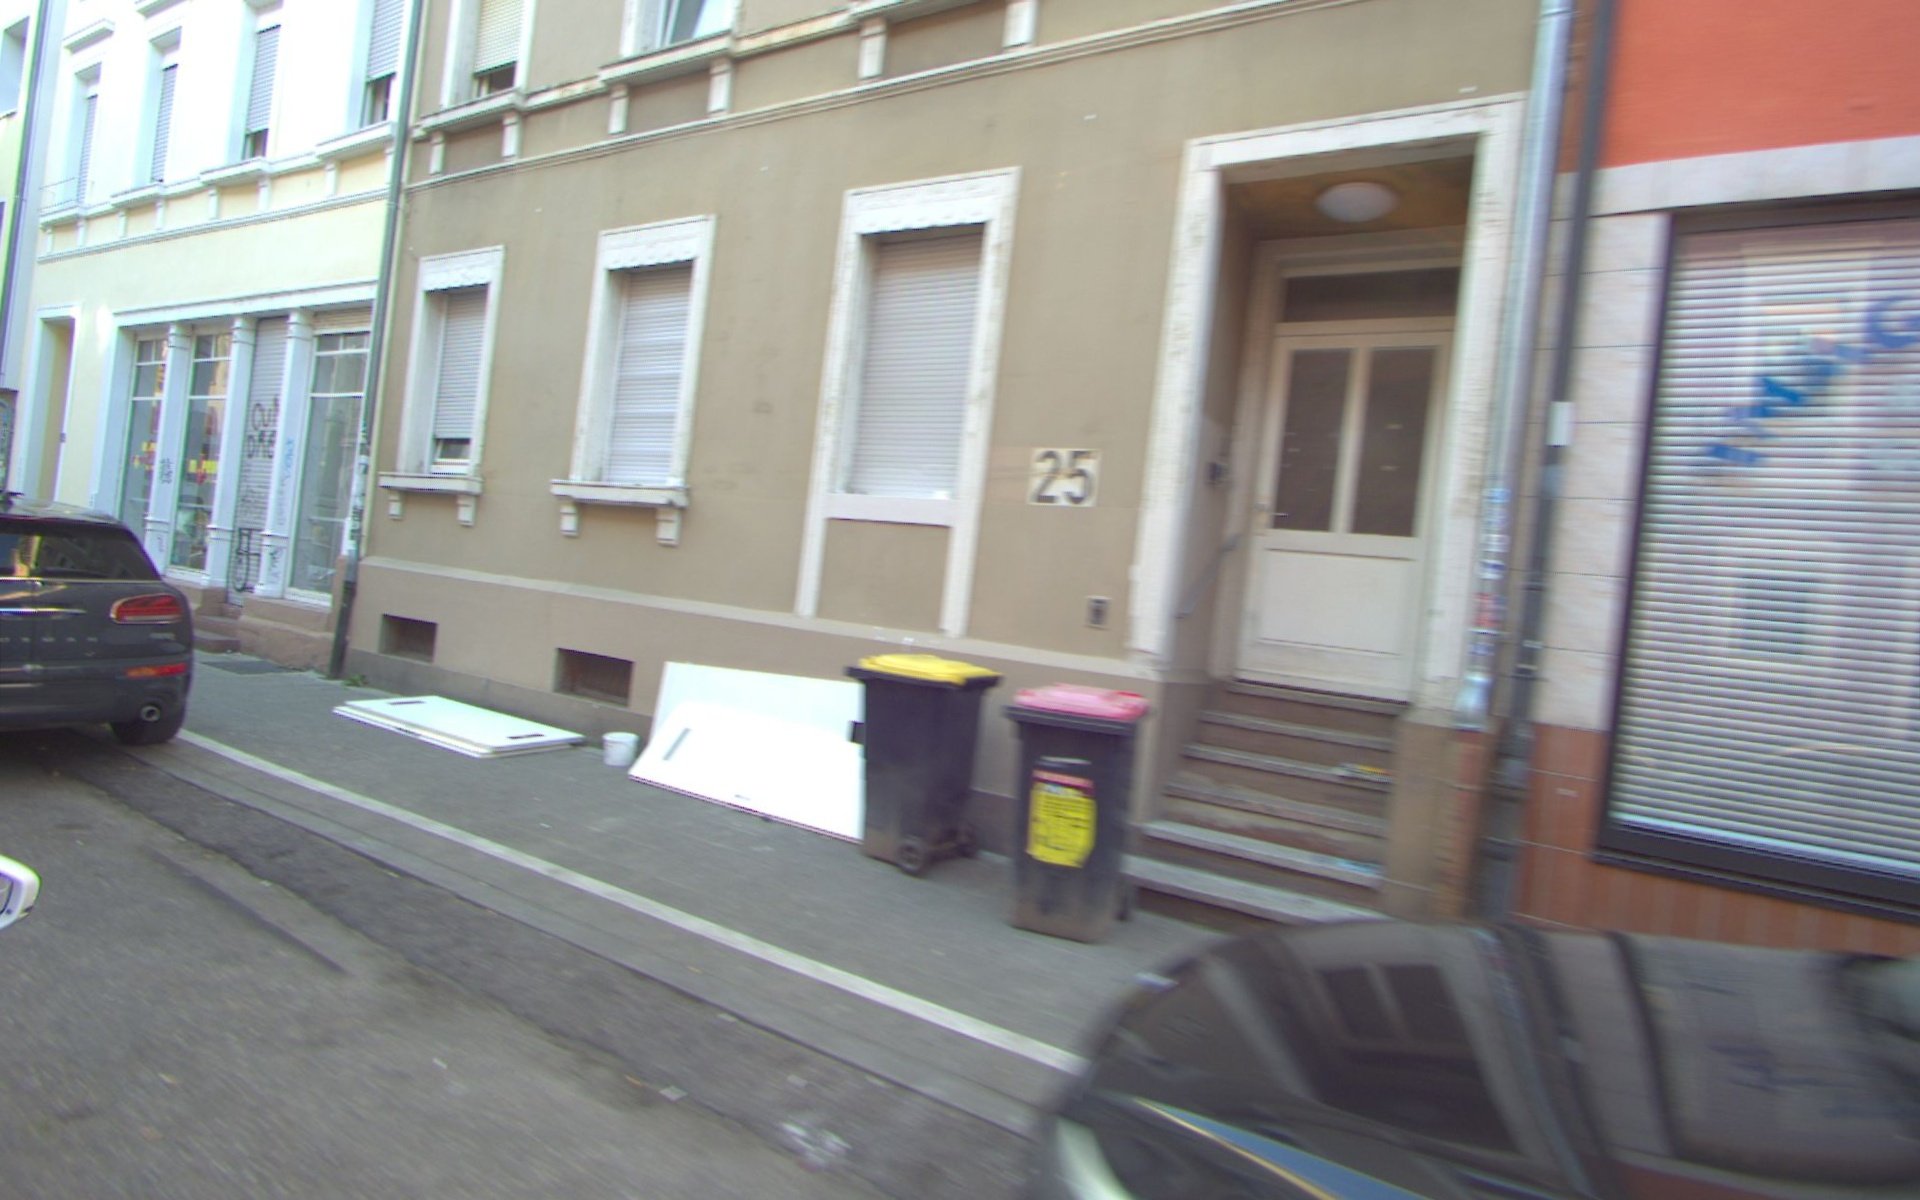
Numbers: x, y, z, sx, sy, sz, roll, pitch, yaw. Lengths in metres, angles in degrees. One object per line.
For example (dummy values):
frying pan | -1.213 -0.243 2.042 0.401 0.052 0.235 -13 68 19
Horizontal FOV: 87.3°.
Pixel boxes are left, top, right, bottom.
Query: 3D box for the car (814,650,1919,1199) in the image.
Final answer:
car | 2.263 1.041 0.955 4.711 1.457 1.818 6 1 31

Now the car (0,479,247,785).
car | -6.399 0.003 6.184 3.933 1.541 1.818 6 1 31

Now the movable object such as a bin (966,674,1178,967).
movable object such as a bin | 0.525 0.931 4.547 0.665 1.090 0.737 6 2 25

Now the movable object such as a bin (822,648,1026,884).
movable object such as a bin | -0.183 0.840 5.436 0.667 1.089 0.806 7 2 36
